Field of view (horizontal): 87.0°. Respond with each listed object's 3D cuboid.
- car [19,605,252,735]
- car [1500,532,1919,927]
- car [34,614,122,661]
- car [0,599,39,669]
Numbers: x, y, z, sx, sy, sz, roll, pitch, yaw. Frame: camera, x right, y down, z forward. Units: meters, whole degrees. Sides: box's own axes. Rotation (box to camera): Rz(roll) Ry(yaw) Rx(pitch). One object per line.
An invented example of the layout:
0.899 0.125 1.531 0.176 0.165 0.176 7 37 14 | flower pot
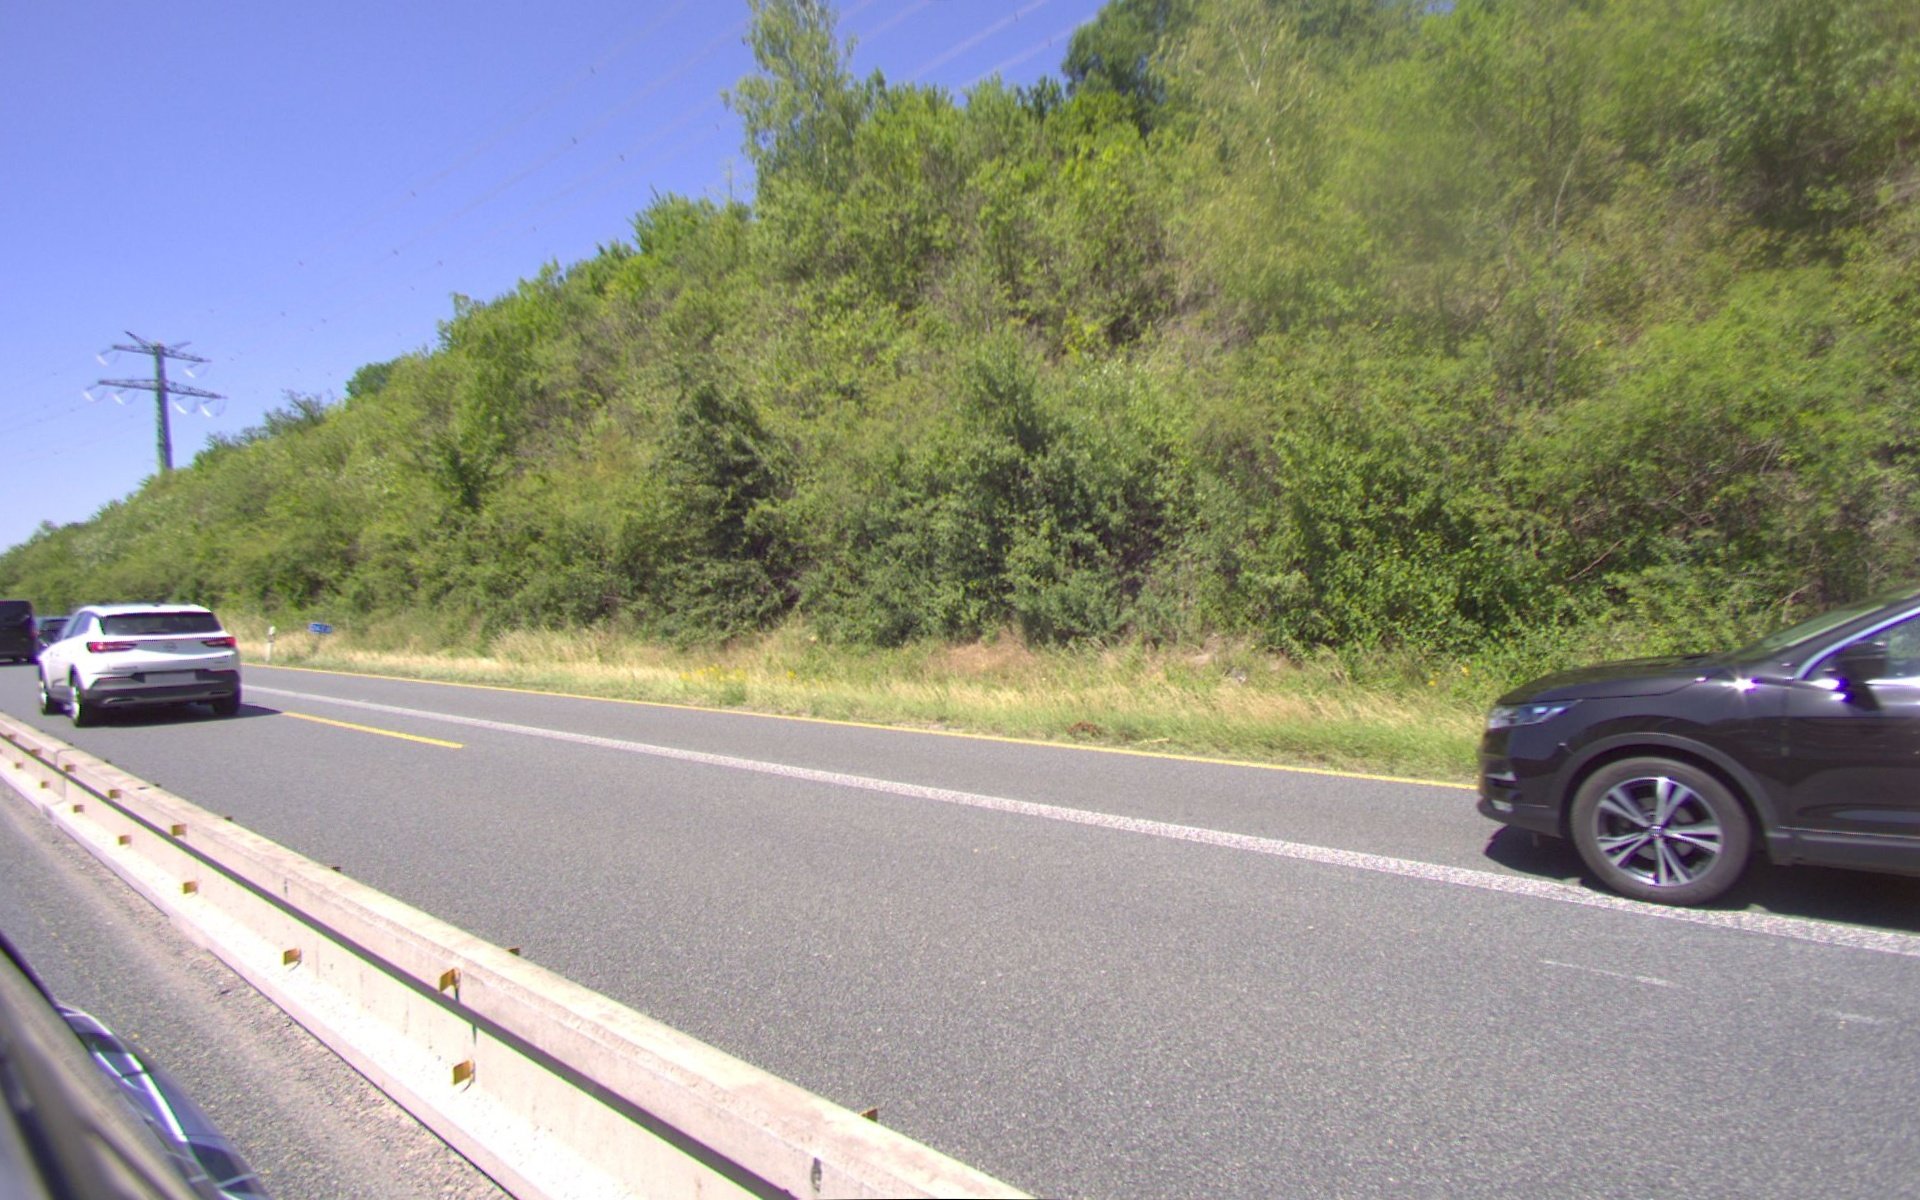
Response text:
-12.155 0.913 14.799 4.668 1.545 1.825 -1 1 41 | car
4.744 0.491 4.350 3.992 1.577 1.682 -1 0 41 | car
-31.523 1.309 36.123 4.529 1.536 1.774 -1 0 41 | car
-29.794 1.032 30.935 4.815 2.029 1.871 -1 0 41 | car
